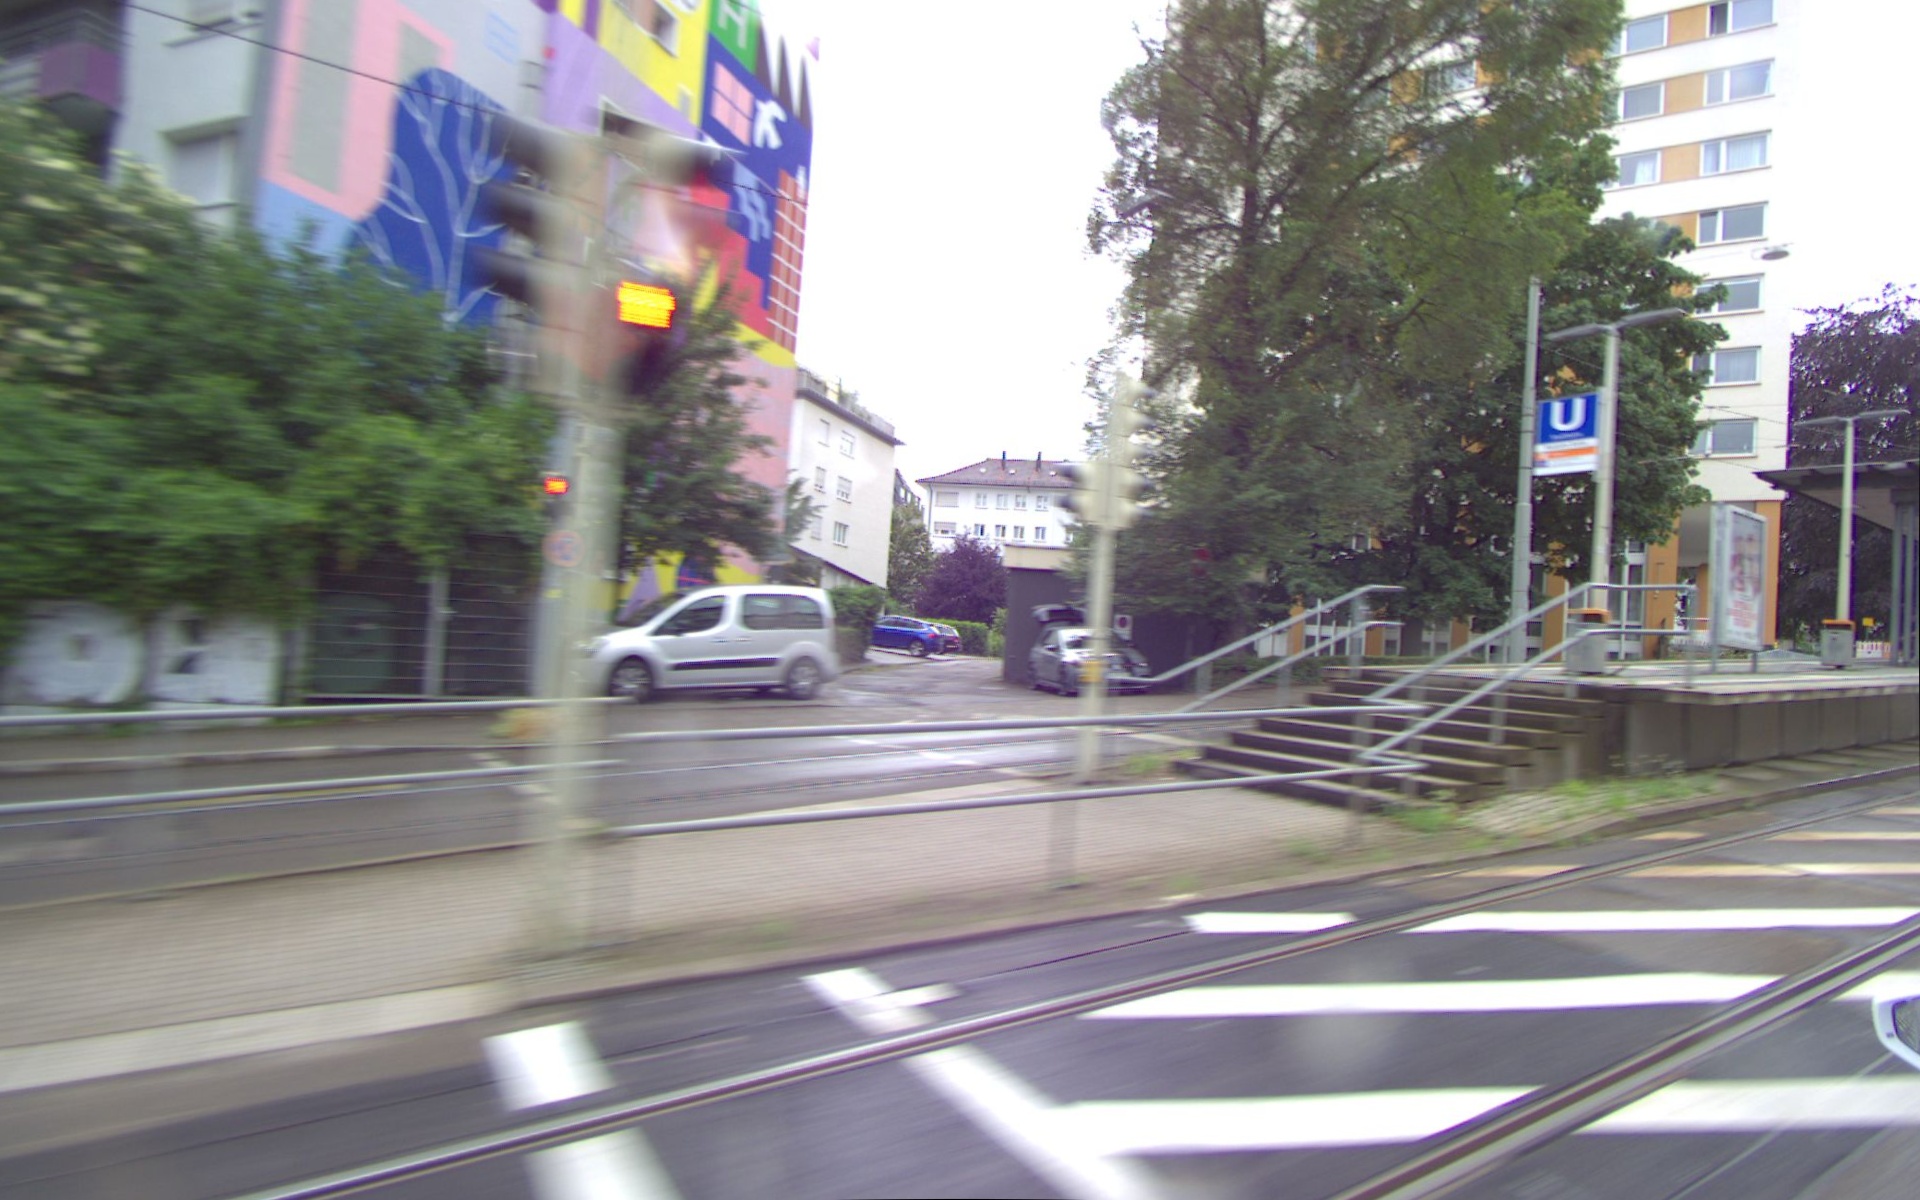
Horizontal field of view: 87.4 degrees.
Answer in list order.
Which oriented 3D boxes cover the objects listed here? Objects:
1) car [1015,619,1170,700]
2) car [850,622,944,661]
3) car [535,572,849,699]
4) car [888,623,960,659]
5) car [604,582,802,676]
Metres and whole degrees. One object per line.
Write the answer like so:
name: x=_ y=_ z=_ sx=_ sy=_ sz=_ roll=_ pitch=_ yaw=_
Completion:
car: x=2.721 y=1.211 z=21.803 sx=1.911 sy=1.563 sz=4.483 roll=2 pitch=-1 yaw=-12
car: x=-2.521 y=1.665 z=40.530 sx=3.563 sy=1.314 sz=1.651 roll=3 pitch=0 yaw=3
car: x=-4.086 y=0.559 z=15.664 sx=4.397 sy=1.739 sz=1.735 roll=2 pitch=-1 yaw=-35
car: x=-1.669 y=1.920 z=47.170 sx=3.225 sy=1.455 sz=1.489 roll=3 pitch=0 yaw=3
car: x=-5.154 y=0.658 z=20.679 sx=1.680 sy=1.658 sz=3.951 roll=1 pitch=-4 yaw=27
